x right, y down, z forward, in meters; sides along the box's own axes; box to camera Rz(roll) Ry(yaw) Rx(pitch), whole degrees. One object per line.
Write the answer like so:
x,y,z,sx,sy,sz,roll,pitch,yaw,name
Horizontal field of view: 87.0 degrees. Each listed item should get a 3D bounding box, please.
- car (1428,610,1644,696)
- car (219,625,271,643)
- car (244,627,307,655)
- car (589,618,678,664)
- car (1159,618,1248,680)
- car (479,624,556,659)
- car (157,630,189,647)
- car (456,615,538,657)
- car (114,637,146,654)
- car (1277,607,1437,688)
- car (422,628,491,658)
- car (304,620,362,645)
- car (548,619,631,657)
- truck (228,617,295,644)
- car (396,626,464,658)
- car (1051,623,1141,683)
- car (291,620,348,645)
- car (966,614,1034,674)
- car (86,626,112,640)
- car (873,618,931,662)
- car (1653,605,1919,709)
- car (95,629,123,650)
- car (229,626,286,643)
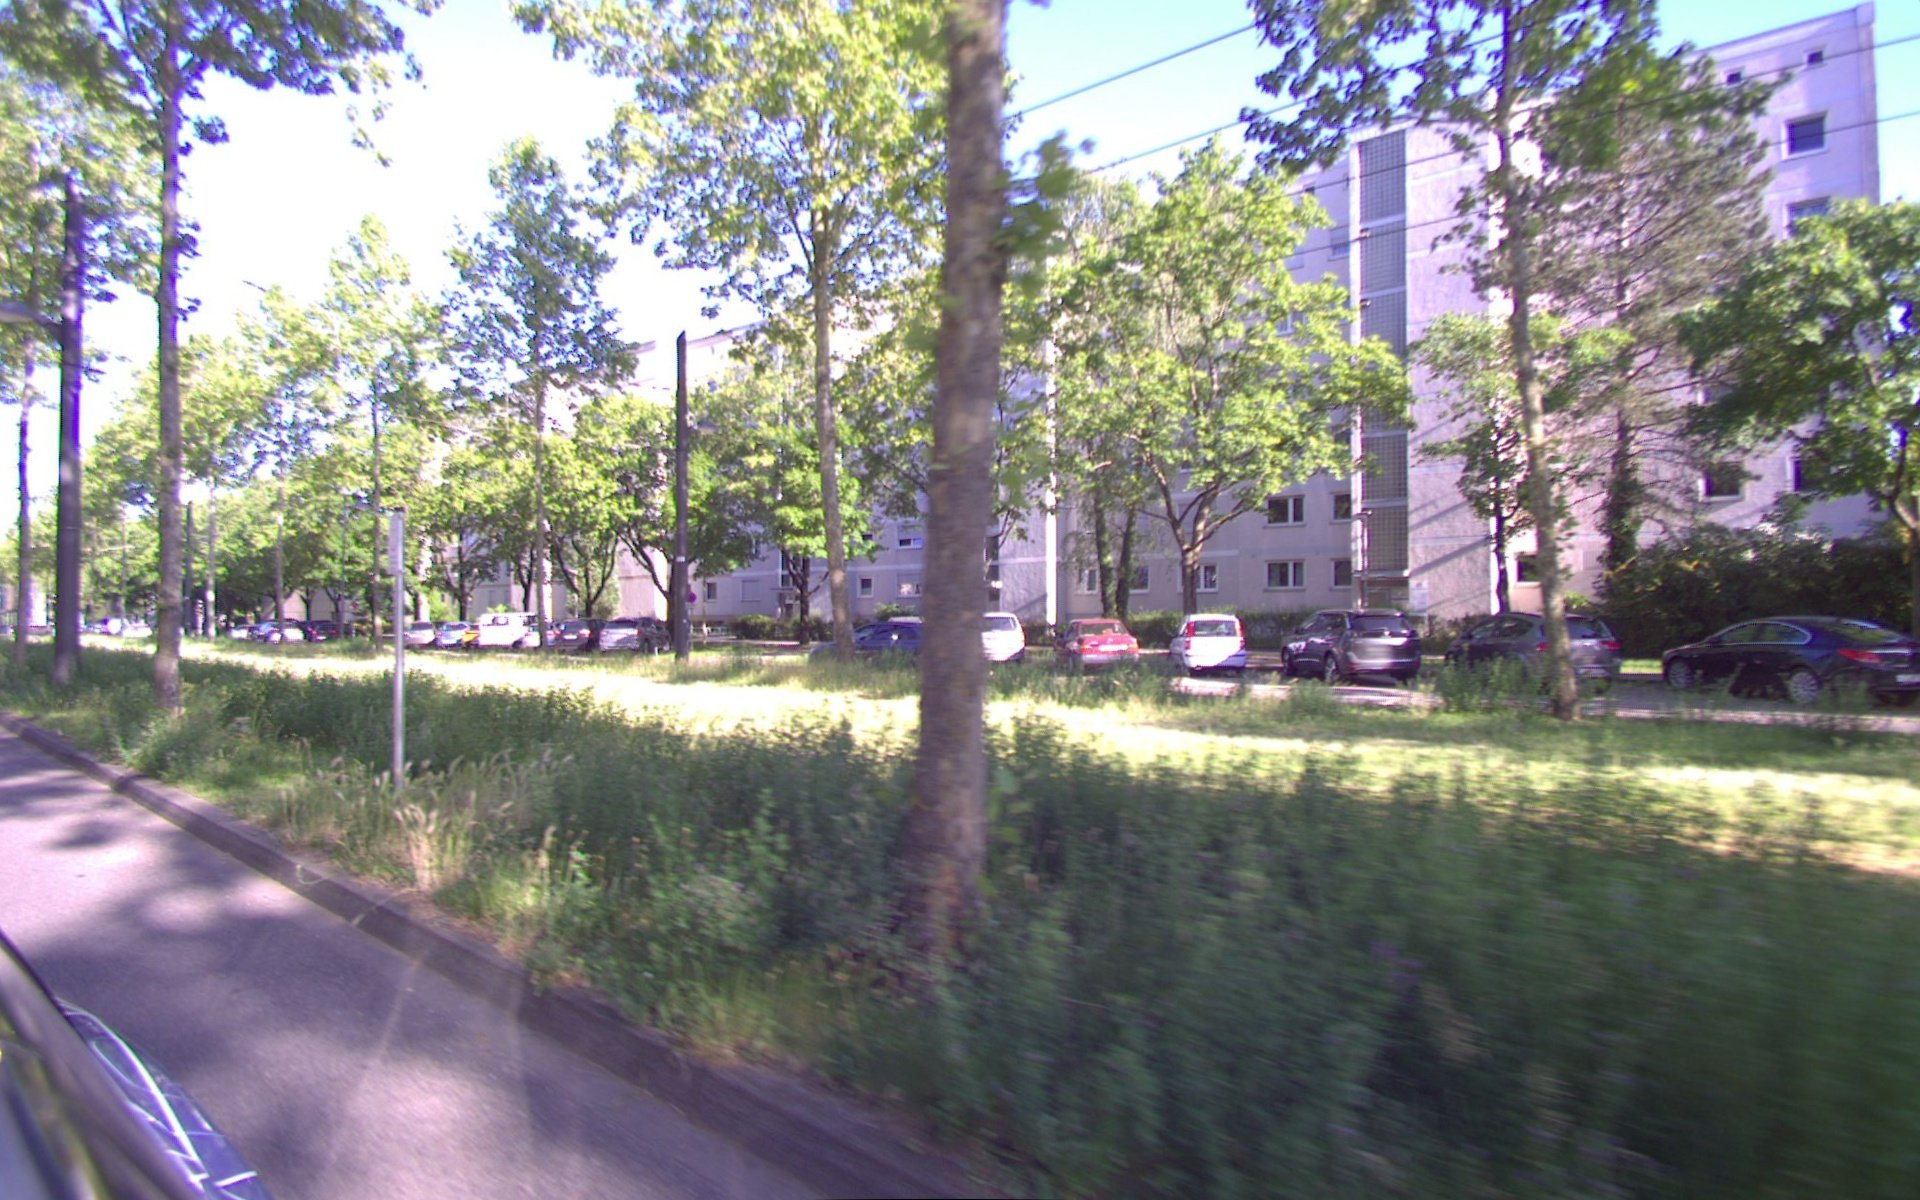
11.654,1.036,20.913,1.769,1.580,4.488,0,-1,-2,car
-56.770,2.692,80.455,1.811,1.446,3.832,0,-2,-8,car
-39.626,2.365,58.578,4.082,1.518,1.904,-2,-4,40,car
-13.701,1.698,42.700,1.971,1.619,4.078,6,-1,5,car
6.324,1.236,26.671,1.597,1.493,4.480,0,-1,5,car
-21.500,1.976,49.312,1.560,1.443,4.076,-2,0,7,car
-75.317,3.667,96.822,4.200,1.557,1.695,-2,-2,43,car
-24.040,1.831,52.772,1.867,2.022,4.794,-2,-2,3,car
-76.207,4.154,92.912,3.847,1.497,1.629,-1,-2,41,car
8.971,1.045,23.311,1.769,1.688,4.488,0,-1,-2,car
-26.521,2.242,53.417,1.628,1.494,4.085,0,-2,-1,car
-42.172,2.208,68.195,1.626,1.487,4.090,-4,-1,-6,car
-16.372,1.657,44.918,1.796,1.542,4.076,-2,-2,7,car
-50.635,2.184,73.472,1.631,1.788,4.078,6,0,5,truck
-29.288,2.313,56.025,1.628,1.658,4.085,-2,-2,-1,car
3.587,1.374,27.295,1.769,1.499,3.922,0,-1,-2,car
-44.869,2.280,71.003,1.626,1.658,4.089,-3,-2,-5,car
1.142,1.276,30.432,1.761,1.688,3.980,0,-1,-2,car
-97.554,3.753,114.672,4.017,1.500,1.577,-2,-2,41,car
-1.813,1.257,32.593,1.769,1.348,4.133,0,-1,-2,car
14.620,0.929,17.715,1.769,1.580,4.488,0,-1,-2,car
-93.955,4.320,111.706,3.931,2.279,1.696,-2,-2,41,car
-54.318,2.639,78.360,1.814,1.256,3.826,0,-2,-1,car
